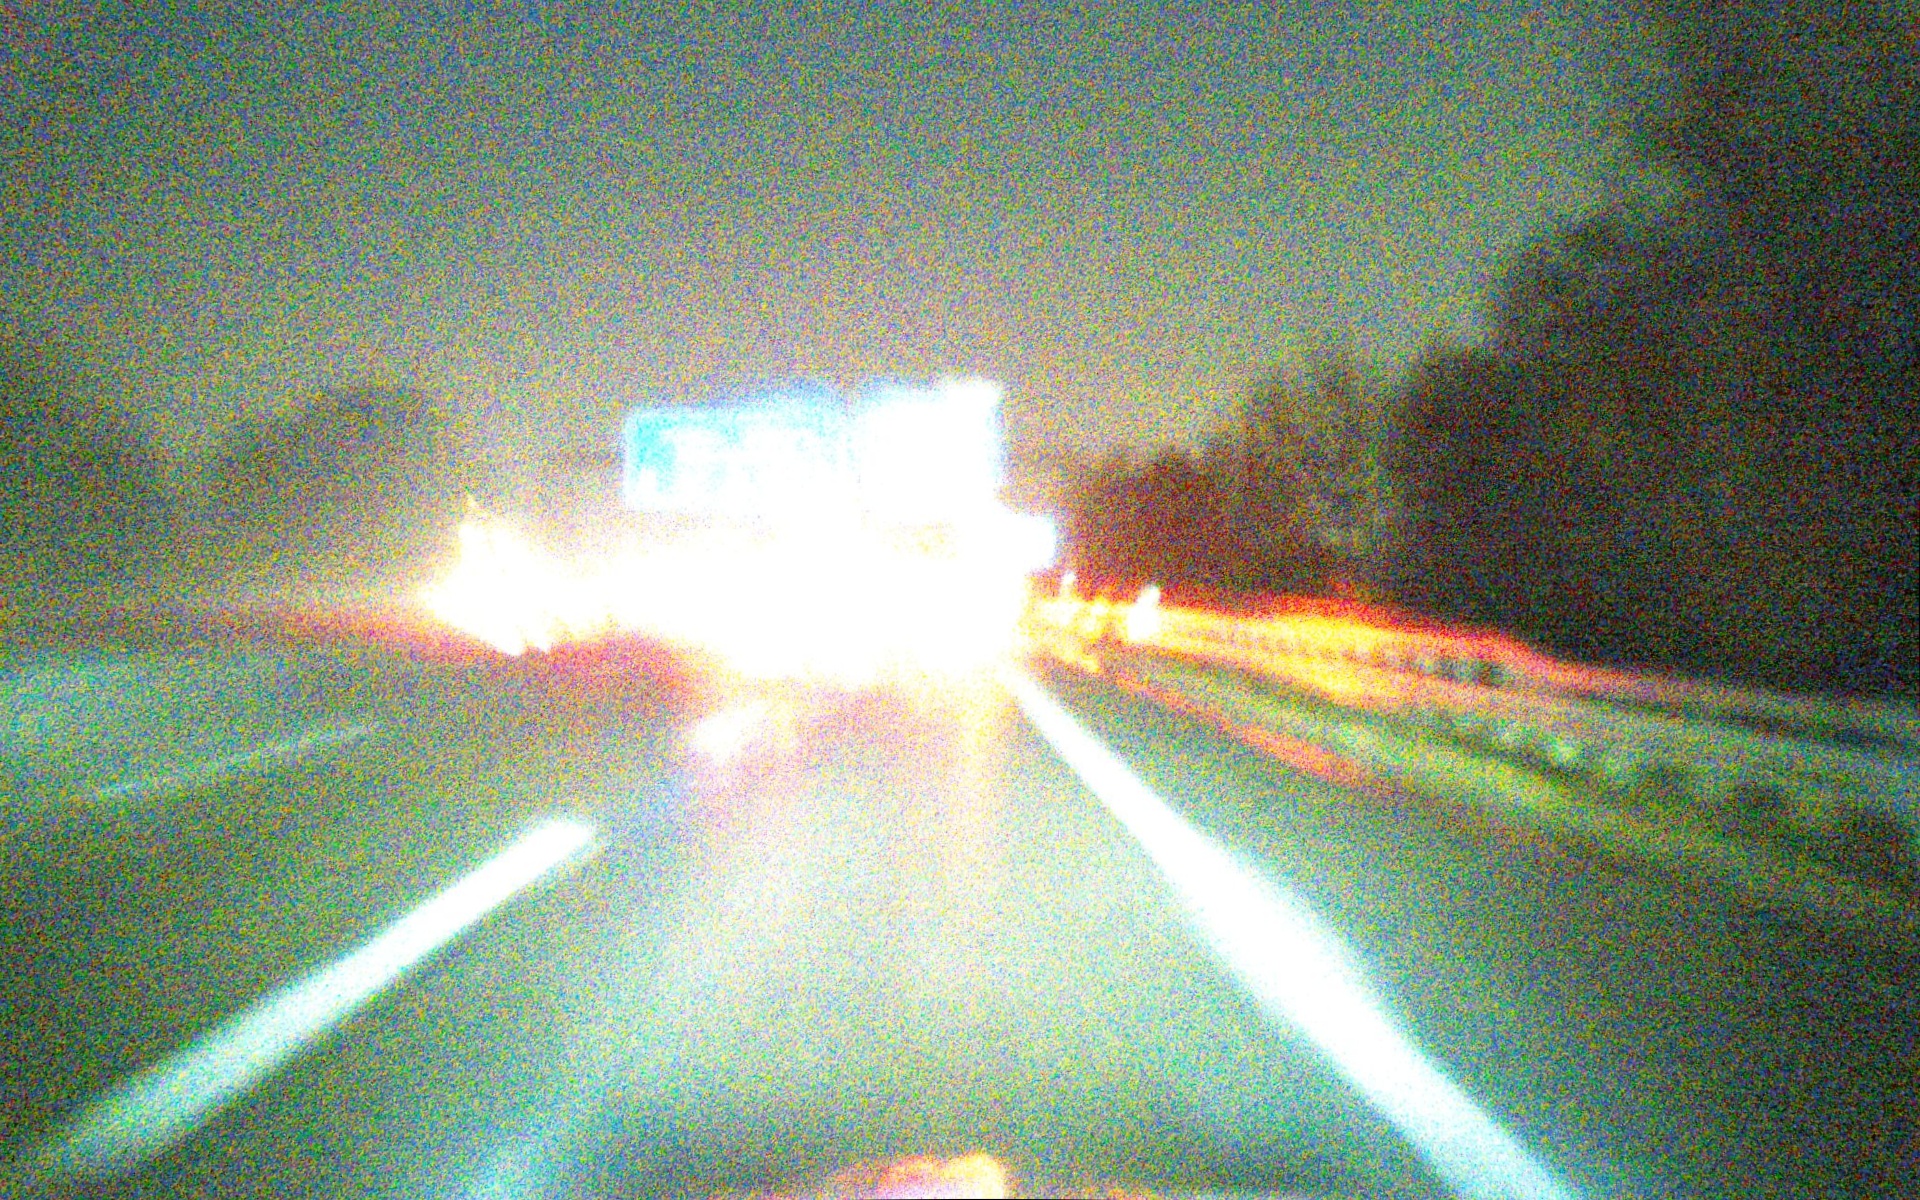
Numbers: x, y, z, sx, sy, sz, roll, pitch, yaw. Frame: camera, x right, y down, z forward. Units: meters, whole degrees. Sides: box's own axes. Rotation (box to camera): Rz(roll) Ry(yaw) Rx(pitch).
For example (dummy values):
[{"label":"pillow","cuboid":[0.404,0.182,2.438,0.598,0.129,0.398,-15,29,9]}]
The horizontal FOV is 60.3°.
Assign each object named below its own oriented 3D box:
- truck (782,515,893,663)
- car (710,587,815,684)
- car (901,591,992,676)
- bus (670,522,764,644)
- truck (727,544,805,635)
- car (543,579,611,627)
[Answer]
[{"label":"truck","cuboid":[-5.065,-0.404,70.897,4.125,5.747,11.463,1,0,-2]},{"label":"car","cuboid":[-4.501,0.781,38.342,2.084,2.049,4.642,1,0,-4]},{"label":"car","cuboid":[-0.337,0.745,38.504,1.953,1.839,3.999,1,0,-1]},{"label":"bus","cuboid":[-9.971,-0.637,68.871,3.036,4.587,10.902,1,0,-5]},{"label":"truck","cuboid":[-12.995,-0.651,111.970,4.125,5.747,11.463,1,0,-2]},{"label":"car","cuboid":[-13.684,0.094,59.255,1.956,1.624,3.993,1,0,-8]}]
